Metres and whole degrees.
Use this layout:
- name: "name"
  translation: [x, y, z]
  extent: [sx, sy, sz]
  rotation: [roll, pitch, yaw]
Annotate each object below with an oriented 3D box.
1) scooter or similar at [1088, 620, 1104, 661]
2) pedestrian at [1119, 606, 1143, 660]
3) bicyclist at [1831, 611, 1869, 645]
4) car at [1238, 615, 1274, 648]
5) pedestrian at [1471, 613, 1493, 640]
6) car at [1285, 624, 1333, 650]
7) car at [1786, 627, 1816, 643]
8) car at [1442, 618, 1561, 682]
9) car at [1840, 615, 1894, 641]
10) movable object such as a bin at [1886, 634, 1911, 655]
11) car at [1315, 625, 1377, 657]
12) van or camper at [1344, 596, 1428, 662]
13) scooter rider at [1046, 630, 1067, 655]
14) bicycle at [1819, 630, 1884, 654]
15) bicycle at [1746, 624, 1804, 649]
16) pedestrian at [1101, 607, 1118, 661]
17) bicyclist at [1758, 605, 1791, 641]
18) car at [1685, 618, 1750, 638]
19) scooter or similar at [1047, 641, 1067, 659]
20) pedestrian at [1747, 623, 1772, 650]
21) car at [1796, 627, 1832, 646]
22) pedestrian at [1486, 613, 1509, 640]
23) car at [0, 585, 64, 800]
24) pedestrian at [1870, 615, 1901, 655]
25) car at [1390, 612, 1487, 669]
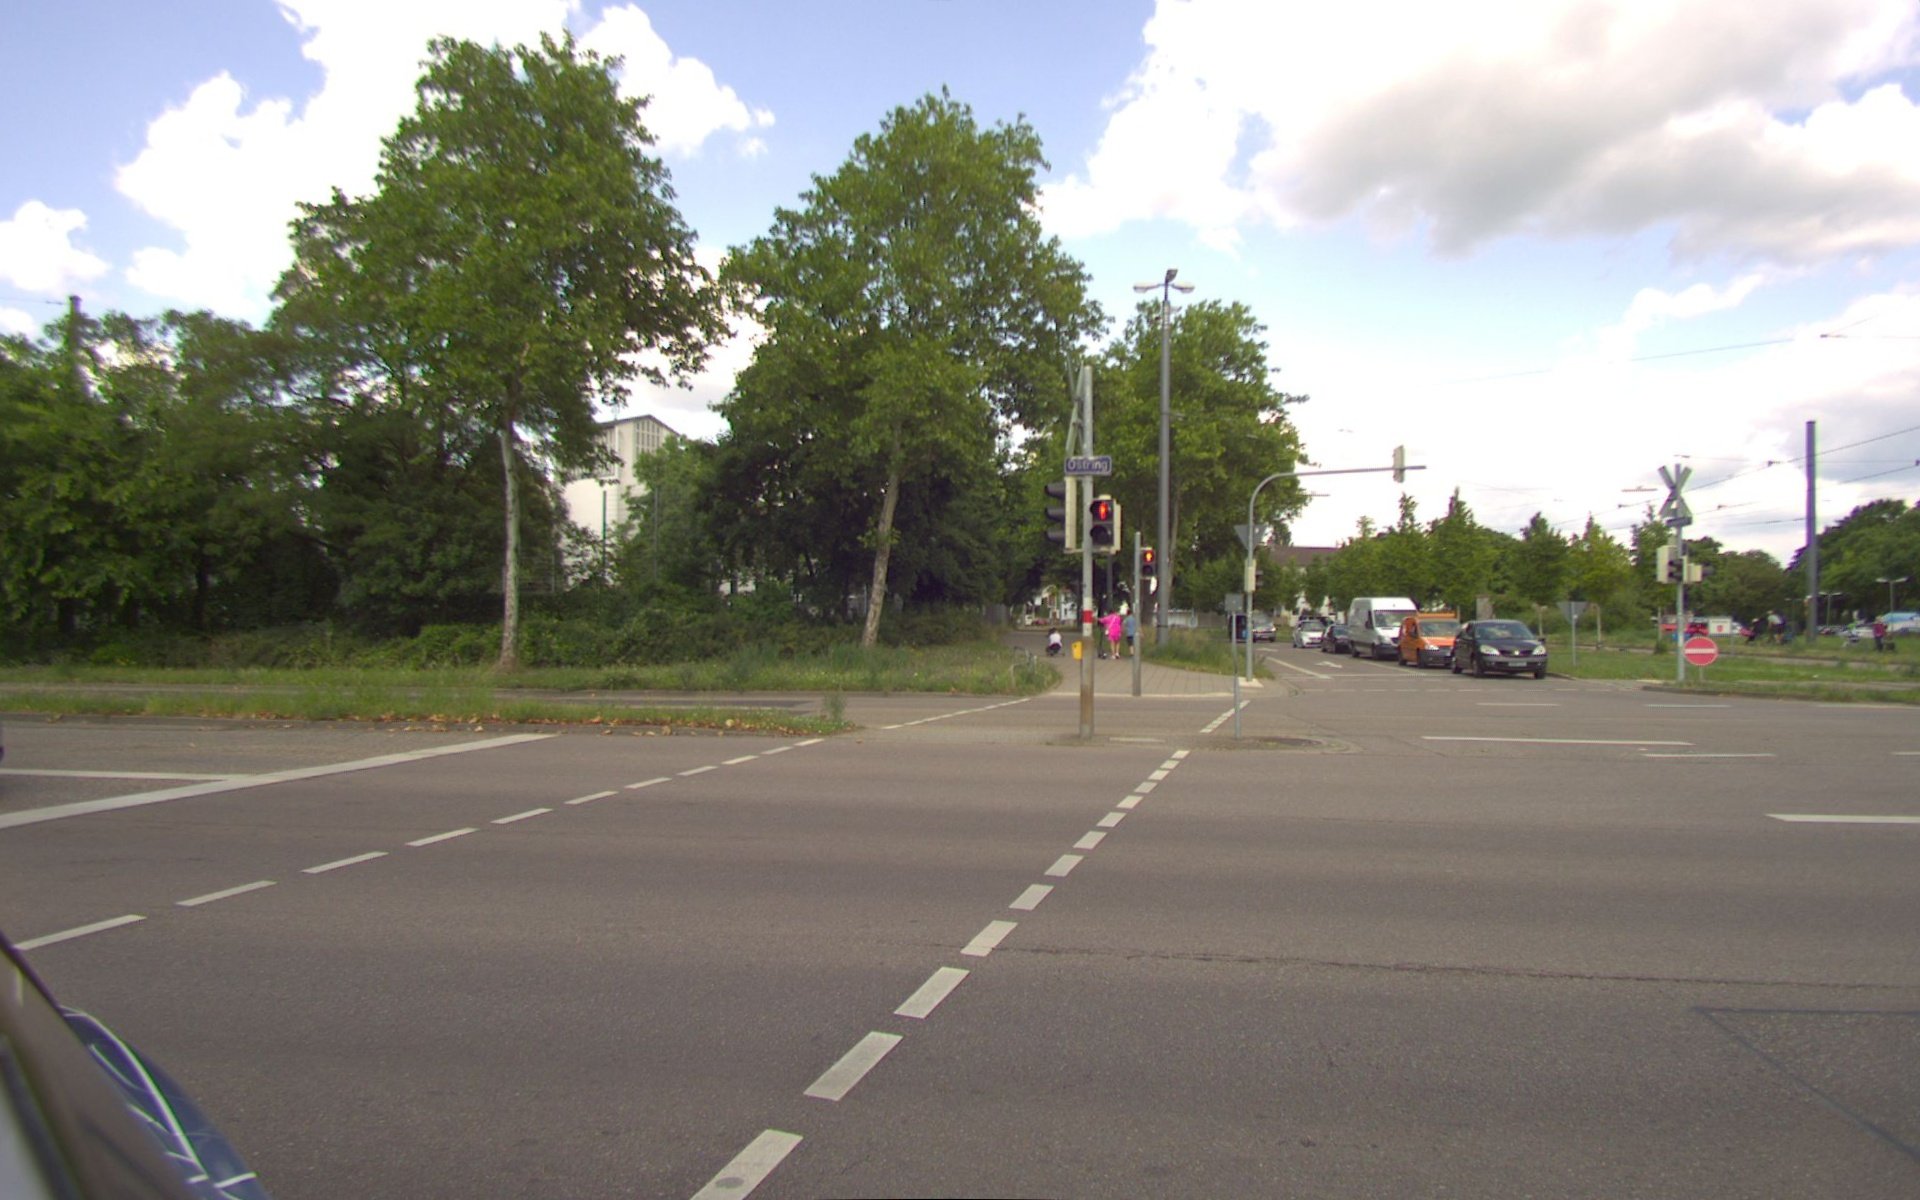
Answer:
- name: "scooter or similar"
  translation: [4.188, 1.249, 31.194]
  extent: [0.319, 1.241, 0.771]
  rotation: [-3, -2, 19]
- name: "pedestrian"
  translation: [5.170, 0.991, 30.611]
  extent: [0.627, 1.631, 0.607]
  rotation: [-1, -1, 17]
- name: "bicyclist"
  translation: [40.140, 1.264, 45.648]
  extent: [0.947, 1.500, 0.838]
  rotation: [0, -1, -11]
- name: "car"
  translation: [20.210, 2.135, 69.192]
  extent: [1.834, 2.172, 4.370]
  rotation: [0, -1, 9]
- name: "pedestrian"
  translation: [39.799, 2.046, 77.140]
  extent: [1.092, 2.029, 1.176]
  rotation: [0, -1, 3]
- name: "car"
  translation: [19.707, 2.063, 57.319]
  extent: [1.791, 1.442, 4.370]
  rotation: [0, -1, 9]
- name: "car"
  translation: [90.049, 3.727, 108.359]
  extent: [1.995, 1.652, 4.340]
  rotation: [-1, -2, 34]
- name: "car"
  translation: [15.008, 1.343, 28.305]
  extent: [1.716, 1.643, 4.040]
  rotation: [0, -1, 10]
- name: "car"
  translation: [59.461, 1.834, 66.435]
  extent: [1.995, 1.652, 4.340]
  rotation: [-1, -2, 34]
- name: "movable object such as a bin"
  translation: [39.320, 1.860, 42.402]
  extent: [0.570, 0.817, 0.460]
  rotation: [-2, -2, -7]
- name: "car"
  translation: [18.727, 1.955, 49.297]
  extent: [1.790, 1.442, 4.459]
  rotation: [0, -1, 7]
- name: "van or camper"
  translation: [17.567, 1.176, 42.047]
  extent: [1.961, 2.543, 6.016]
  rotation: [0, -1, 10]
- name: "scooter rider"
  translation: [2.998, 1.315, 31.458]
  extent: [0.605, 0.734, 0.857]
  rotation: [-2, -2, 6]
- name: "bicycle"
  translation: [40.143, 1.873, 45.601]
  extent: [0.936, 1.048, 1.988]
  rotation: [0, -1, -11]
- name: "bicycle"
  translation: [39.525, 1.760, 49.097]
  extent: [0.935, 1.163, 1.990]
  rotation: [1, -1, -24]
- name: "pedestrian"
  translation: [4.587, 1.051, 31.033]
  extent: [0.418, 1.631, 0.593]
  rotation: [-1, -1, 17]
- name: "bicyclist"
  translation: [39.631, 1.137, 49.240]
  extent: [0.946, 1.735, 0.838]
  rotation: [1, -1, -19]
- name: "car"
  translation: [59.714, 2.208, 79.820]
  extent: [3.990, 1.541, 1.977]
  rotation: [-1, -2, 35]
- name: "scooter or similar"
  translation: [3.011, 1.557, 31.455]
  extent: [0.604, 0.515, 0.856]
  rotation: [-2, -2, 6]
- name: "pedestrian"
  translation: [41.207, 1.883, 52.166]
  extent: [0.643, 1.364, 0.750]
  rotation: [-2, -2, 9]
- name: "car"
  translation: [77.611, 3.278, 92.019]
  extent: [1.995, 1.652, 4.340]
  rotation: [-1, -2, 34]
- name: "pedestrian"
  translation: [40.943, 2.048, 77.092]
  extent: [1.091, 2.029, 1.176]
  rotation: [0, -1, 2]
- name: "car"
  translation: [-9.704, 0.722, 7.702]
  extent: [4.450, 1.664, 1.926]
  rotation: [0, 0, 8]
- name: "pedestrian"
  translation: [39.250, 1.467, 42.919]
  extent: [0.604, 1.657, 0.639]
  rotation: [-2, -2, -6]
- name: "car"
  translation: [16.241, 1.345, 34.599]
  extent: [1.863, 1.813, 4.356]
  rotation: [0, -1, 10]
